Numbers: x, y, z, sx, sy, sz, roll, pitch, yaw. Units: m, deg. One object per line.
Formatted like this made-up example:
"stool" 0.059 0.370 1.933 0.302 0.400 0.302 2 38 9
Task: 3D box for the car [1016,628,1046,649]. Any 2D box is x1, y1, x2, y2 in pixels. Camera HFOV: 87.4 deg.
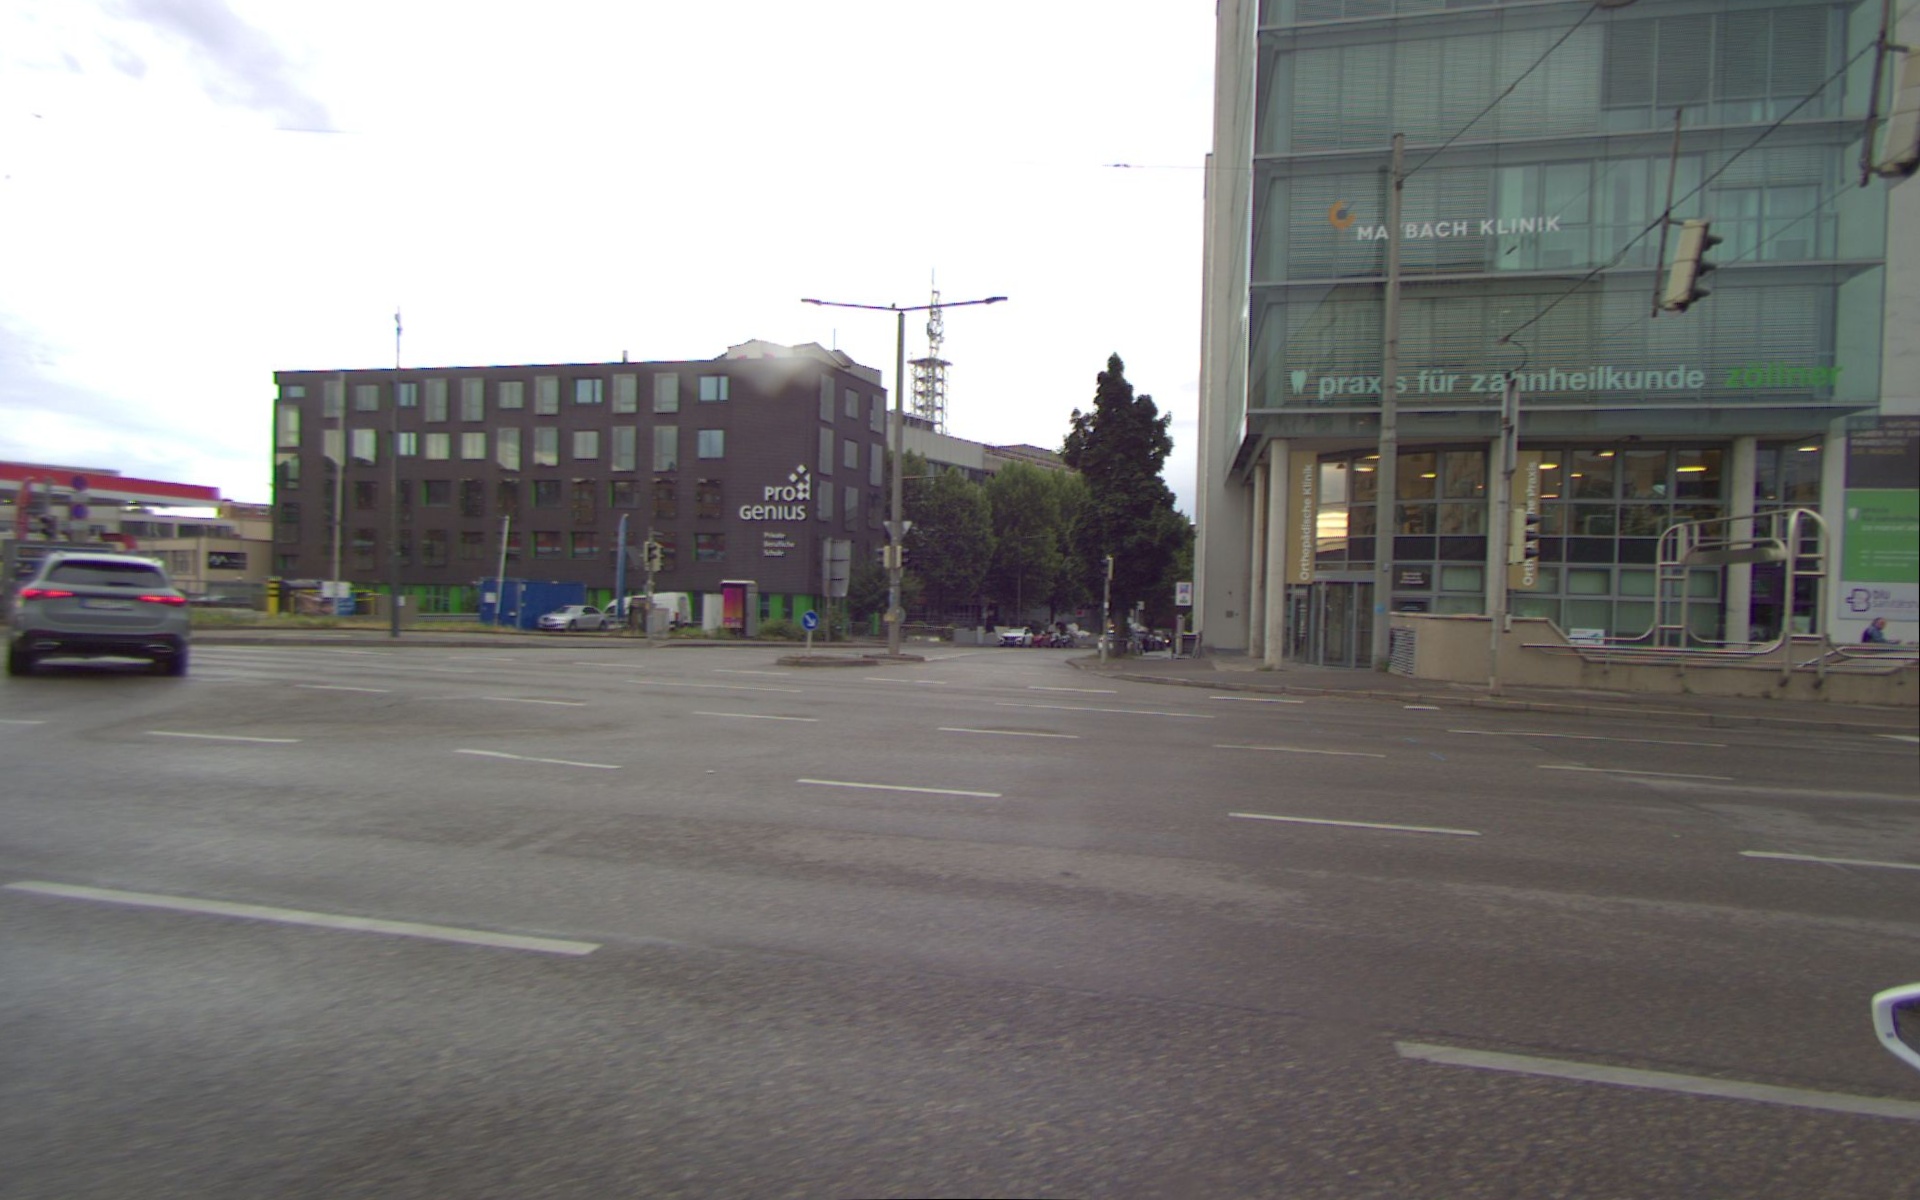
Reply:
"car" 6.215 3.377 87.782 1.651 1.615 3.858 4 -1 19

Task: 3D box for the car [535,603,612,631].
"car" -21.175 0.947 55.186 1.766 1.305 4.002 4 -1 16

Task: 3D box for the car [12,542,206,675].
"car" -12.394 0.065 14.730 1.899 1.654 4.161 2 1 -40

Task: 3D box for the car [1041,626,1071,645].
"car" 8.940 3.300 93.360 1.652 1.615 3.857 4 -1 22

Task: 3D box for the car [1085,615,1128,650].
"car" 8.242 1.822 56.886 1.960 1.739 4.002 4 -1 3

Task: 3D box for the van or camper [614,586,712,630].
"van or camper" -19.125 0.518 64.721 5.239 2.399 2.741 4 -1 12

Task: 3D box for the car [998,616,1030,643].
"car" 4.498 2.448 83.523 1.960 2.040 4.003 4 -1 12
